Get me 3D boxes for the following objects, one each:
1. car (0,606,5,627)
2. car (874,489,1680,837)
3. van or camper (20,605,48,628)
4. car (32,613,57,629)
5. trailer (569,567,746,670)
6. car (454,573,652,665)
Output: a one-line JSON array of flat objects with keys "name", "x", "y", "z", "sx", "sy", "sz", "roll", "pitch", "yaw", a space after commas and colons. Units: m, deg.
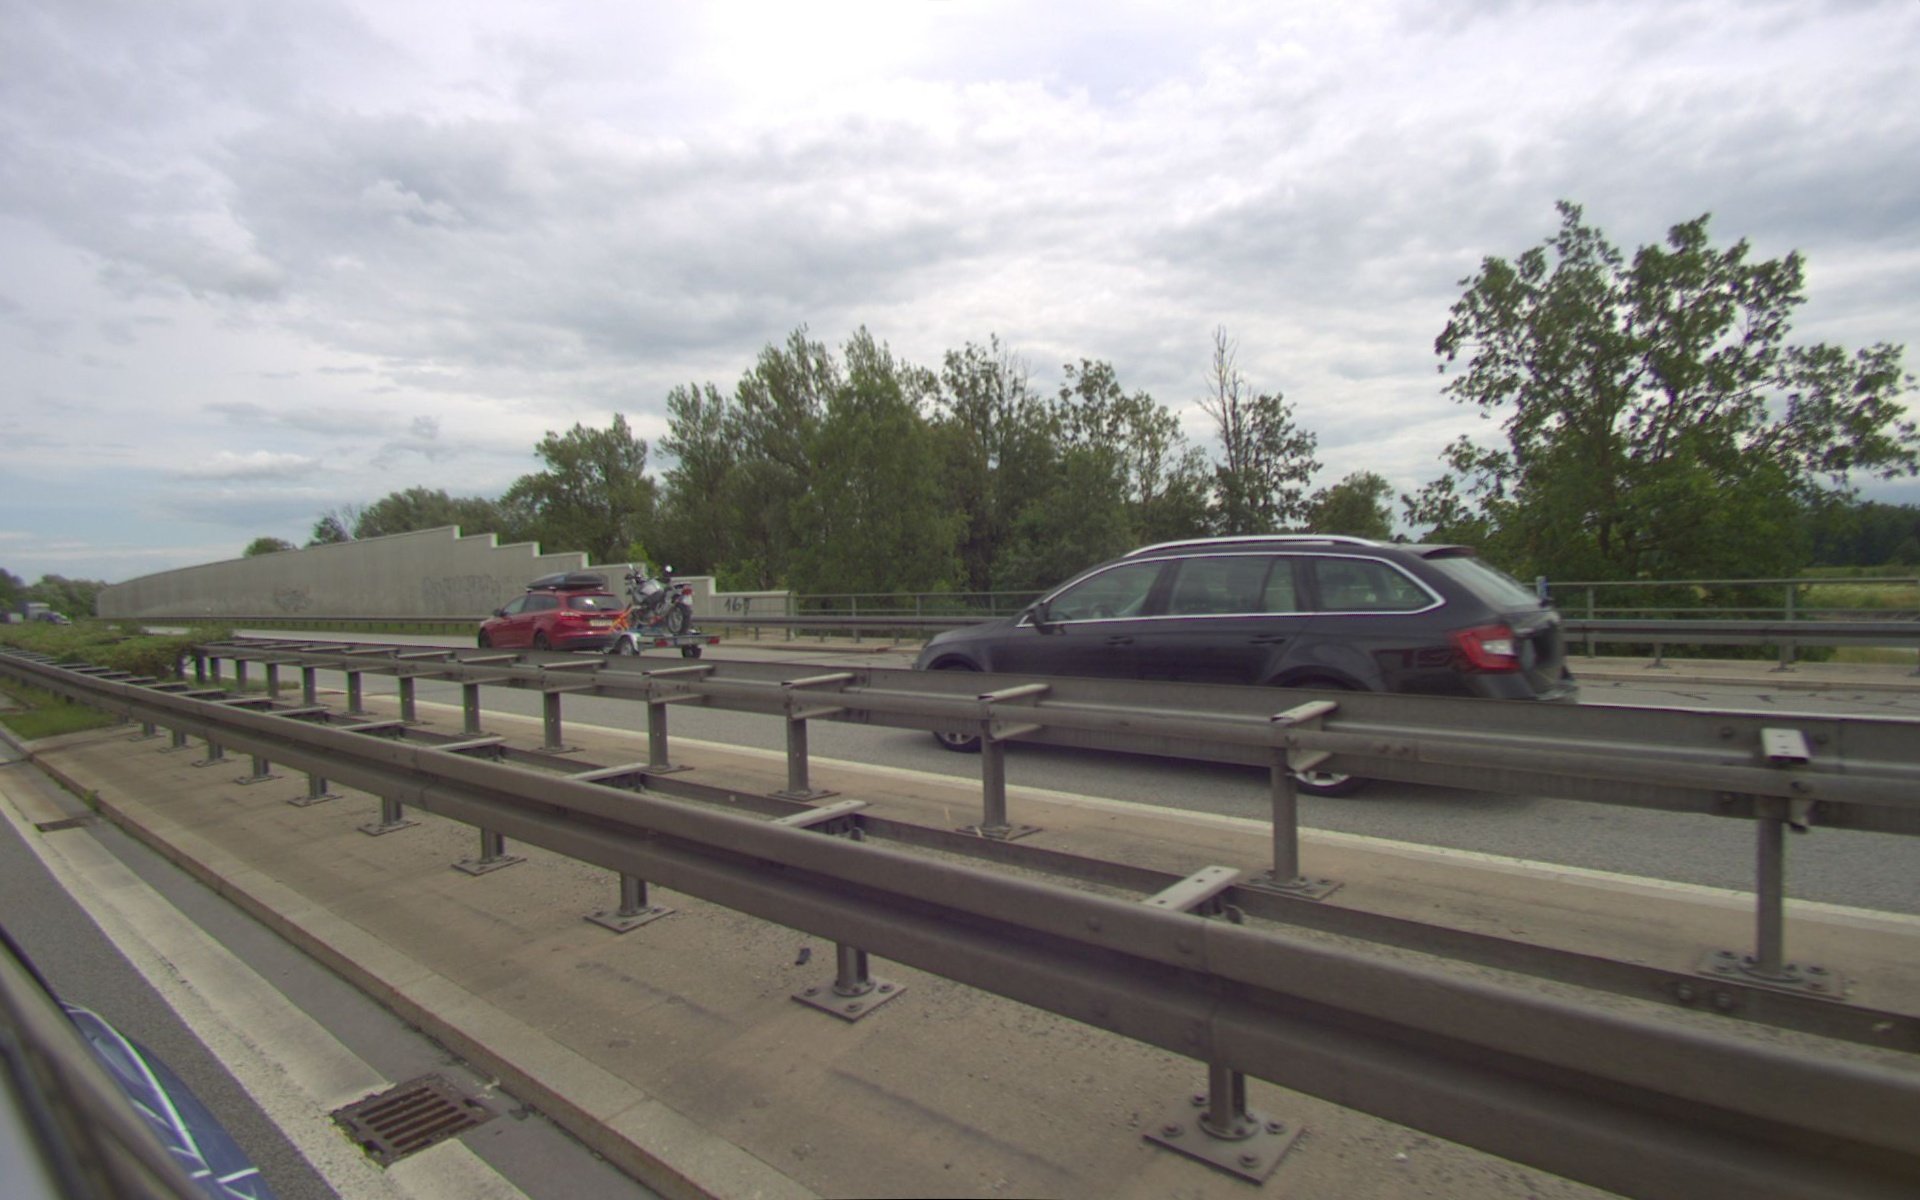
[{"name": "car", "x": -90.374, "y": 1.589, "z": 94.074, "sx": 4.555, "sy": 1.900, "sz": 1.972, "roll": -1, "pitch": 0, "yaw": 43}, {"name": "car", "x": 1.760, "y": 0.303, "z": 6.775, "sx": 4.833, "sy": 1.542, "sz": 1.822, "roll": -1, "pitch": -1, "yaw": 41}, {"name": "van or camper", "x": -117.487, "y": 2.129, "z": 128.367, "sx": 5.757, "sy": 2.800, "sz": 2.229, "roll": -1, "pitch": 0, "yaw": 44}, {"name": "car", "x": -94.389, "y": 2.122, "z": 104.301, "sx": 1.790, "sy": 1.558, "sz": 4.520, "roll": -1, "pitch": 0, "yaw": -44}, {"name": "trailer", "x": -5.754, "y": 0.311, "z": 19.123, "sx": 3.374, "sy": 1.761, "sz": 1.631, "roll": -1, "pitch": 1, "yaw": 41}, {"name": "car", "x": -8.913, "y": 0.369, "z": 21.923, "sx": 4.942, "sy": 1.774, "sz": 1.949, "roll": -1, "pitch": 0, "yaw": 41}]
